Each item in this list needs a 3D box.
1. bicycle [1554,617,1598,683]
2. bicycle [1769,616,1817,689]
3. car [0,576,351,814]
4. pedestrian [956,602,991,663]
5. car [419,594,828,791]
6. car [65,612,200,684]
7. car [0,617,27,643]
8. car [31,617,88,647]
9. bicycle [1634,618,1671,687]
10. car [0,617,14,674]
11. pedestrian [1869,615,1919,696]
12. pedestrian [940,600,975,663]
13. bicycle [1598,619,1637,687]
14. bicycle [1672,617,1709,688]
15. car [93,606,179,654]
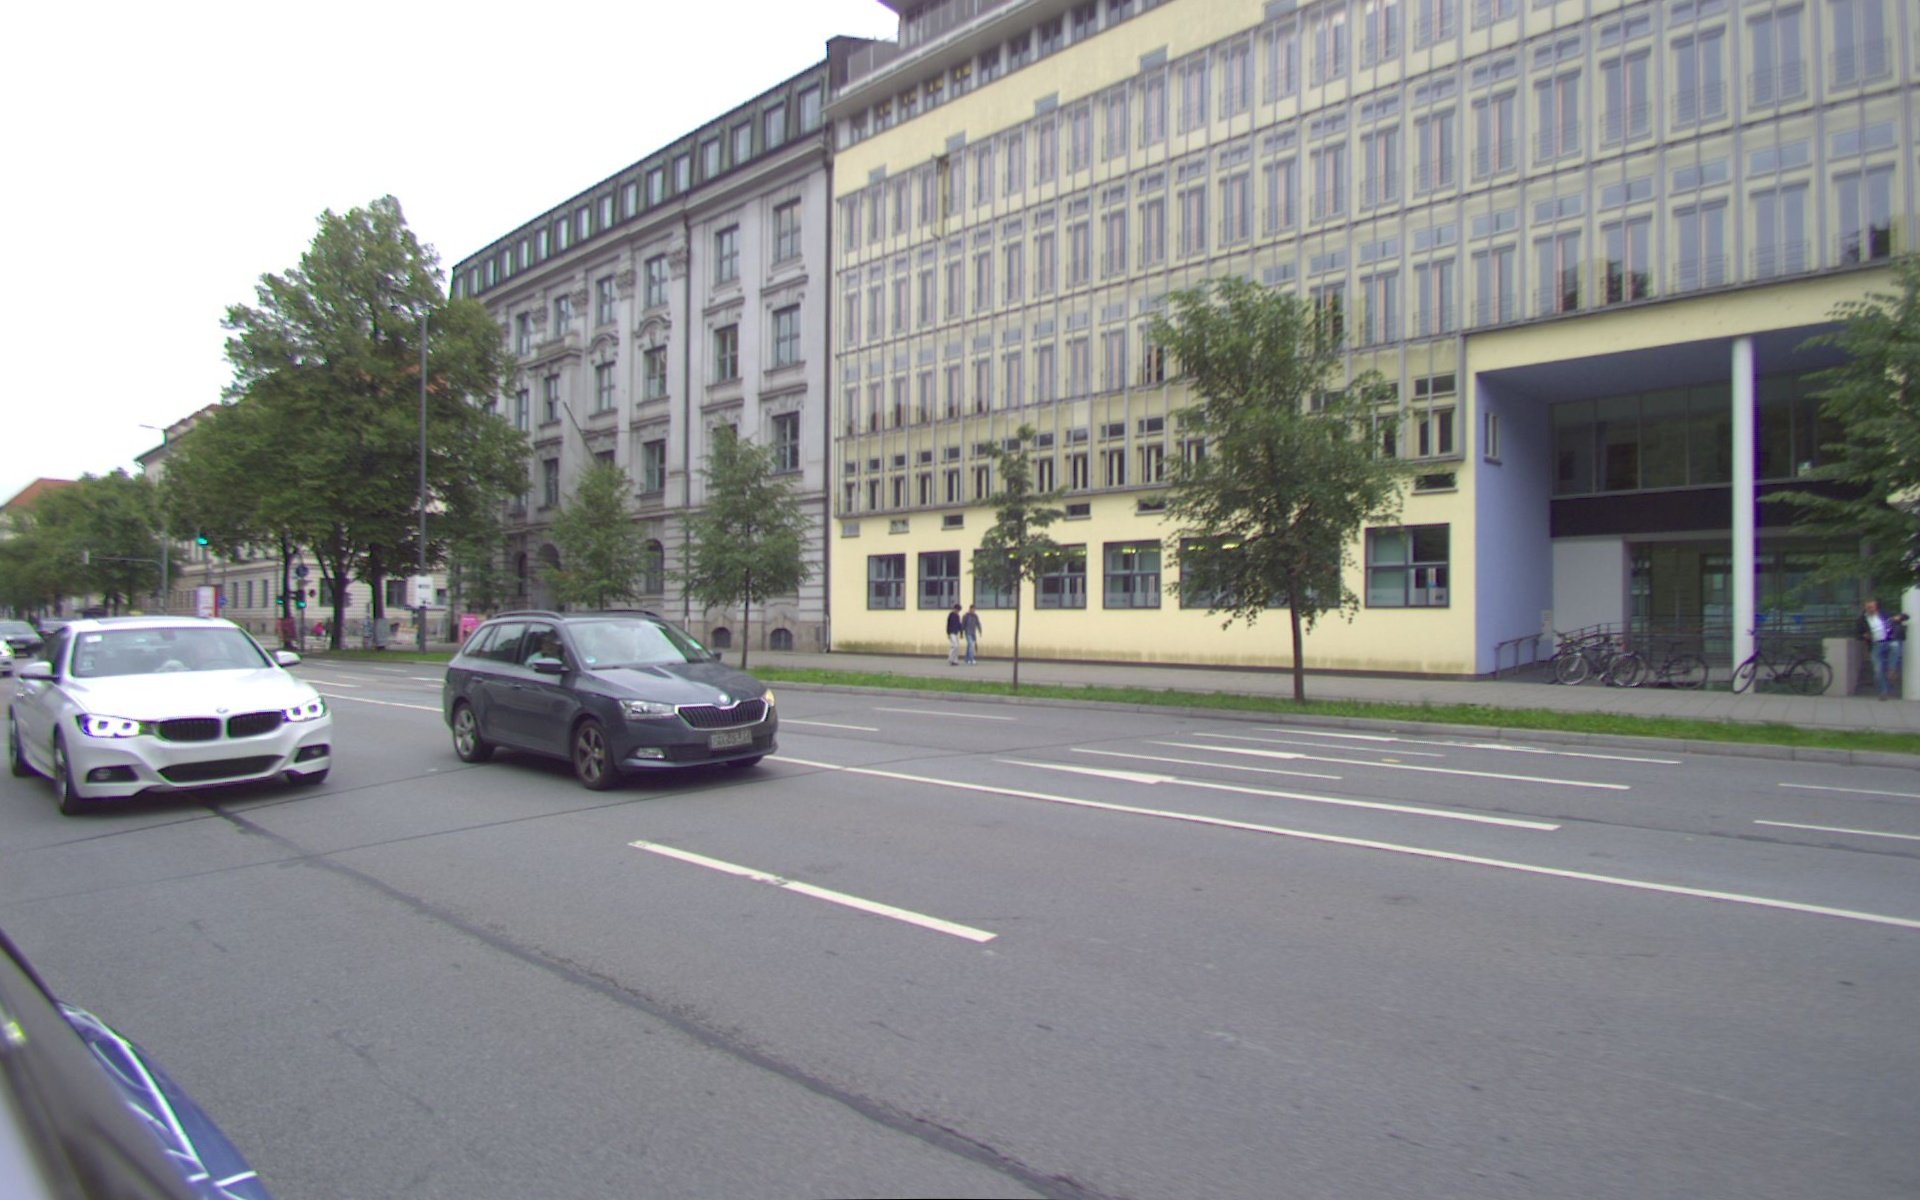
[{"bbox_3d":[13.389,1.058,21.977,0.637,1.328,1.990,-1,0,36],"label":"bicycle"},{"bbox_3d":[16.301,1.002,19.827,0.573,1.328,1.990,-1,0,36],"label":"bicycle"},{"bbox_3d":[-7.520,0.696,9.366,5.024,1.649,1.774,-1,-2,41],"label":"car"},{"bbox_3d":[0.400,0.951,30.272,0.835,1.790,0.609,-1,-1,42],"label":"pedestrian"},{"bbox_3d":[-3.345,0.720,9.612,4.273,1.458,1.774,-1,-2,41],"label":"car"},{"bbox_3d":[-19.209,1.062,23.419,4.336,1.528,1.674,-1,-2,41],"label":"car"},{"bbox_3d":[-62.676,1.976,66.392,4.823,1.554,1.808,-3,-4,43],"label":"car"},{"bbox_3d":[-46.326,1.628,52.038,4.747,1.434,1.747,-1,-4,43],"label":"car"},{"bbox_3d":[14.362,1.052,20.963,0.573,1.328,1.990,-1,0,36],"label":"bicycle"},{"bbox_3d":[-26.710,1.186,26.968,4.273,1.458,1.774,-1,-2,41],"label":"car"},{"bbox_3d":[16.664,0.964,17.716,1.086,1.375,0.828,-2,-3,41],"label":"pedestrian"},{"bbox_3d":[-0.068,0.916,29.754,0.835,1.790,0.609,-1,-1,42],"label":"pedestrian"},{"bbox_3d":[13.872,1.084,21.334,0.573,1.328,1.990,-1,0,36],"label":"bicycle"},{"bbox_3d":[14.856,1.036,20.589,0.573,1.328,1.990,-1,0,36],"label":"bicycle"},{"bbox_3d":[-31.801,1.166,39.014,4.629,1.762,1.837,-1,-4,42],"label":"car"}]
